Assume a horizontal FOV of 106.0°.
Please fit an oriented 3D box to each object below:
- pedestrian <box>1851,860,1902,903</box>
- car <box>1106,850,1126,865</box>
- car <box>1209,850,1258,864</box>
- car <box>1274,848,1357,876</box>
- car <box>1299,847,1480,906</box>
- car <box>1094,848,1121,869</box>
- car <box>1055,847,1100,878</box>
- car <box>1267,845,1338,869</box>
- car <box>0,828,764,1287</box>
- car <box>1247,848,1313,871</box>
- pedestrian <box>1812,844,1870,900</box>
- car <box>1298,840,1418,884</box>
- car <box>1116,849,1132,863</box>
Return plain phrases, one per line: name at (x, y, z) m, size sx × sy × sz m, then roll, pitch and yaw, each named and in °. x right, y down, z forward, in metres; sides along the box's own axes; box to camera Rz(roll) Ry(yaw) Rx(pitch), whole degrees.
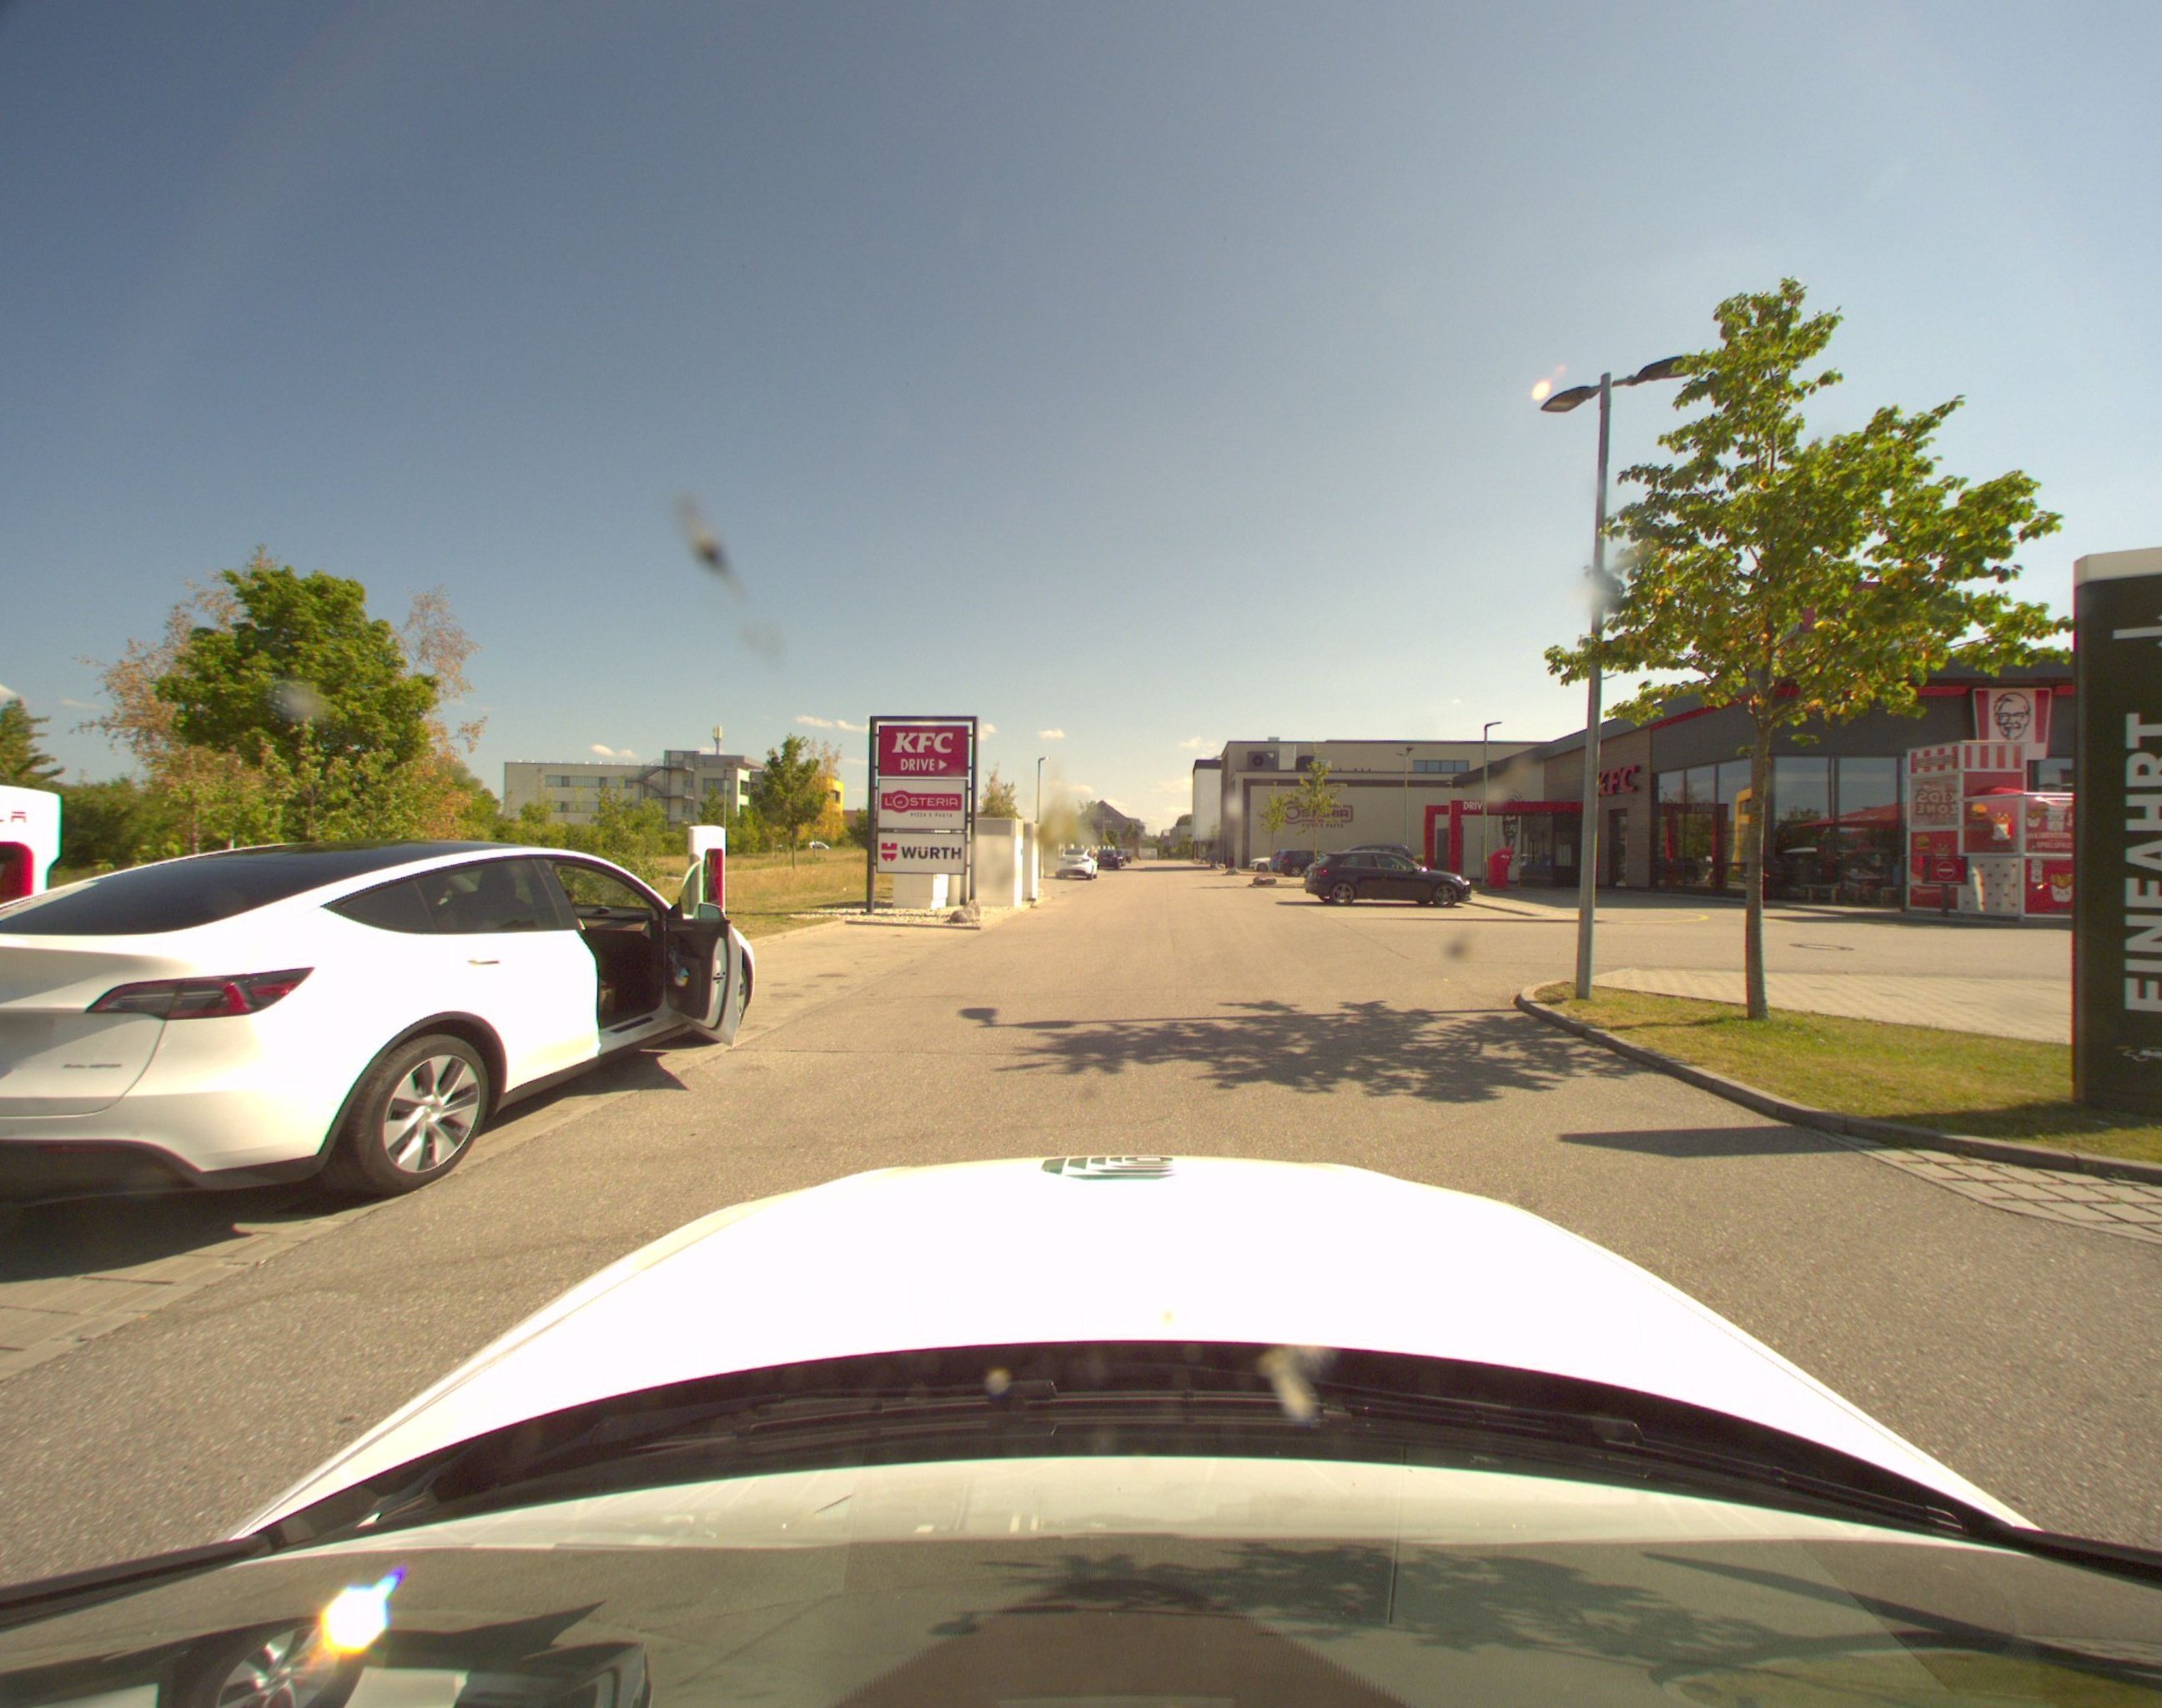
pedestrian at (20.666, 0.702, 21.167) m, size 0.712 × 1.071 × 0.629 m, roll 0°, pitch 0°, yaw 2°
car at (3.357, 0.298, 76.664) m, size 1.735 × 1.387 × 4.005 m, roll 1°, pitch 0°, yaw 4°
car at (13.035, 0.221, 69.750) m, size 3.969 × 1.156 × 2.002 m, roll 0°, pitch 0°, yaw 4°
car at (12.413, 0.416, 43.297) m, size 3.971 × 1.420 × 1.652 m, roll 1°, pitch 0°, yaw 2°
car at (8.044, 0.562, 21.516) m, size 4.181 × 1.441 × 1.700 m, roll 1°, pitch 0°, yaw 4°
car at (2.164, 0.315, 64.762) m, size 1.936 × 1.568 × 4.005 m, roll 1°, pitch 0°, yaw 5°
car at (-0.138, 0.436, 43.532) m, size 1.934 × 1.568 × 4.008 m, roll 1°, pitch 0°, yaw 7°
car at (13.683, 0.190, 50.348) m, size 3.971 × 1.420 × 1.652 m, roll 1°, pitch 0°, yaw 2°
car at (-3.892, 0.693, 5.119) m, size 1.857 × 1.600 × 4.491 m, roll 1°, pitch 0°, yaw 2°
car at (12.920, 0.344, 52.992) m, size 3.971 × 1.420 × 1.652 m, roll 1°, pitch 0°, yaw 2°
pedestrian at (19.779, 0.466, 21.201) m, size 0.794 × 1.435 × 0.773 m, roll 0°, pitch 0°, yaw 3°
car at (11.276, 0.315, 33.312) m, size 4.355 × 1.685 × 1.642 m, roll 1°, pitch 0°, yaw 0°
car at (4.945, 0.210, 93.752) m, size 1.735 × 1.568 × 4.005 m, roll 1°, pitch 0°, yaw 4°
